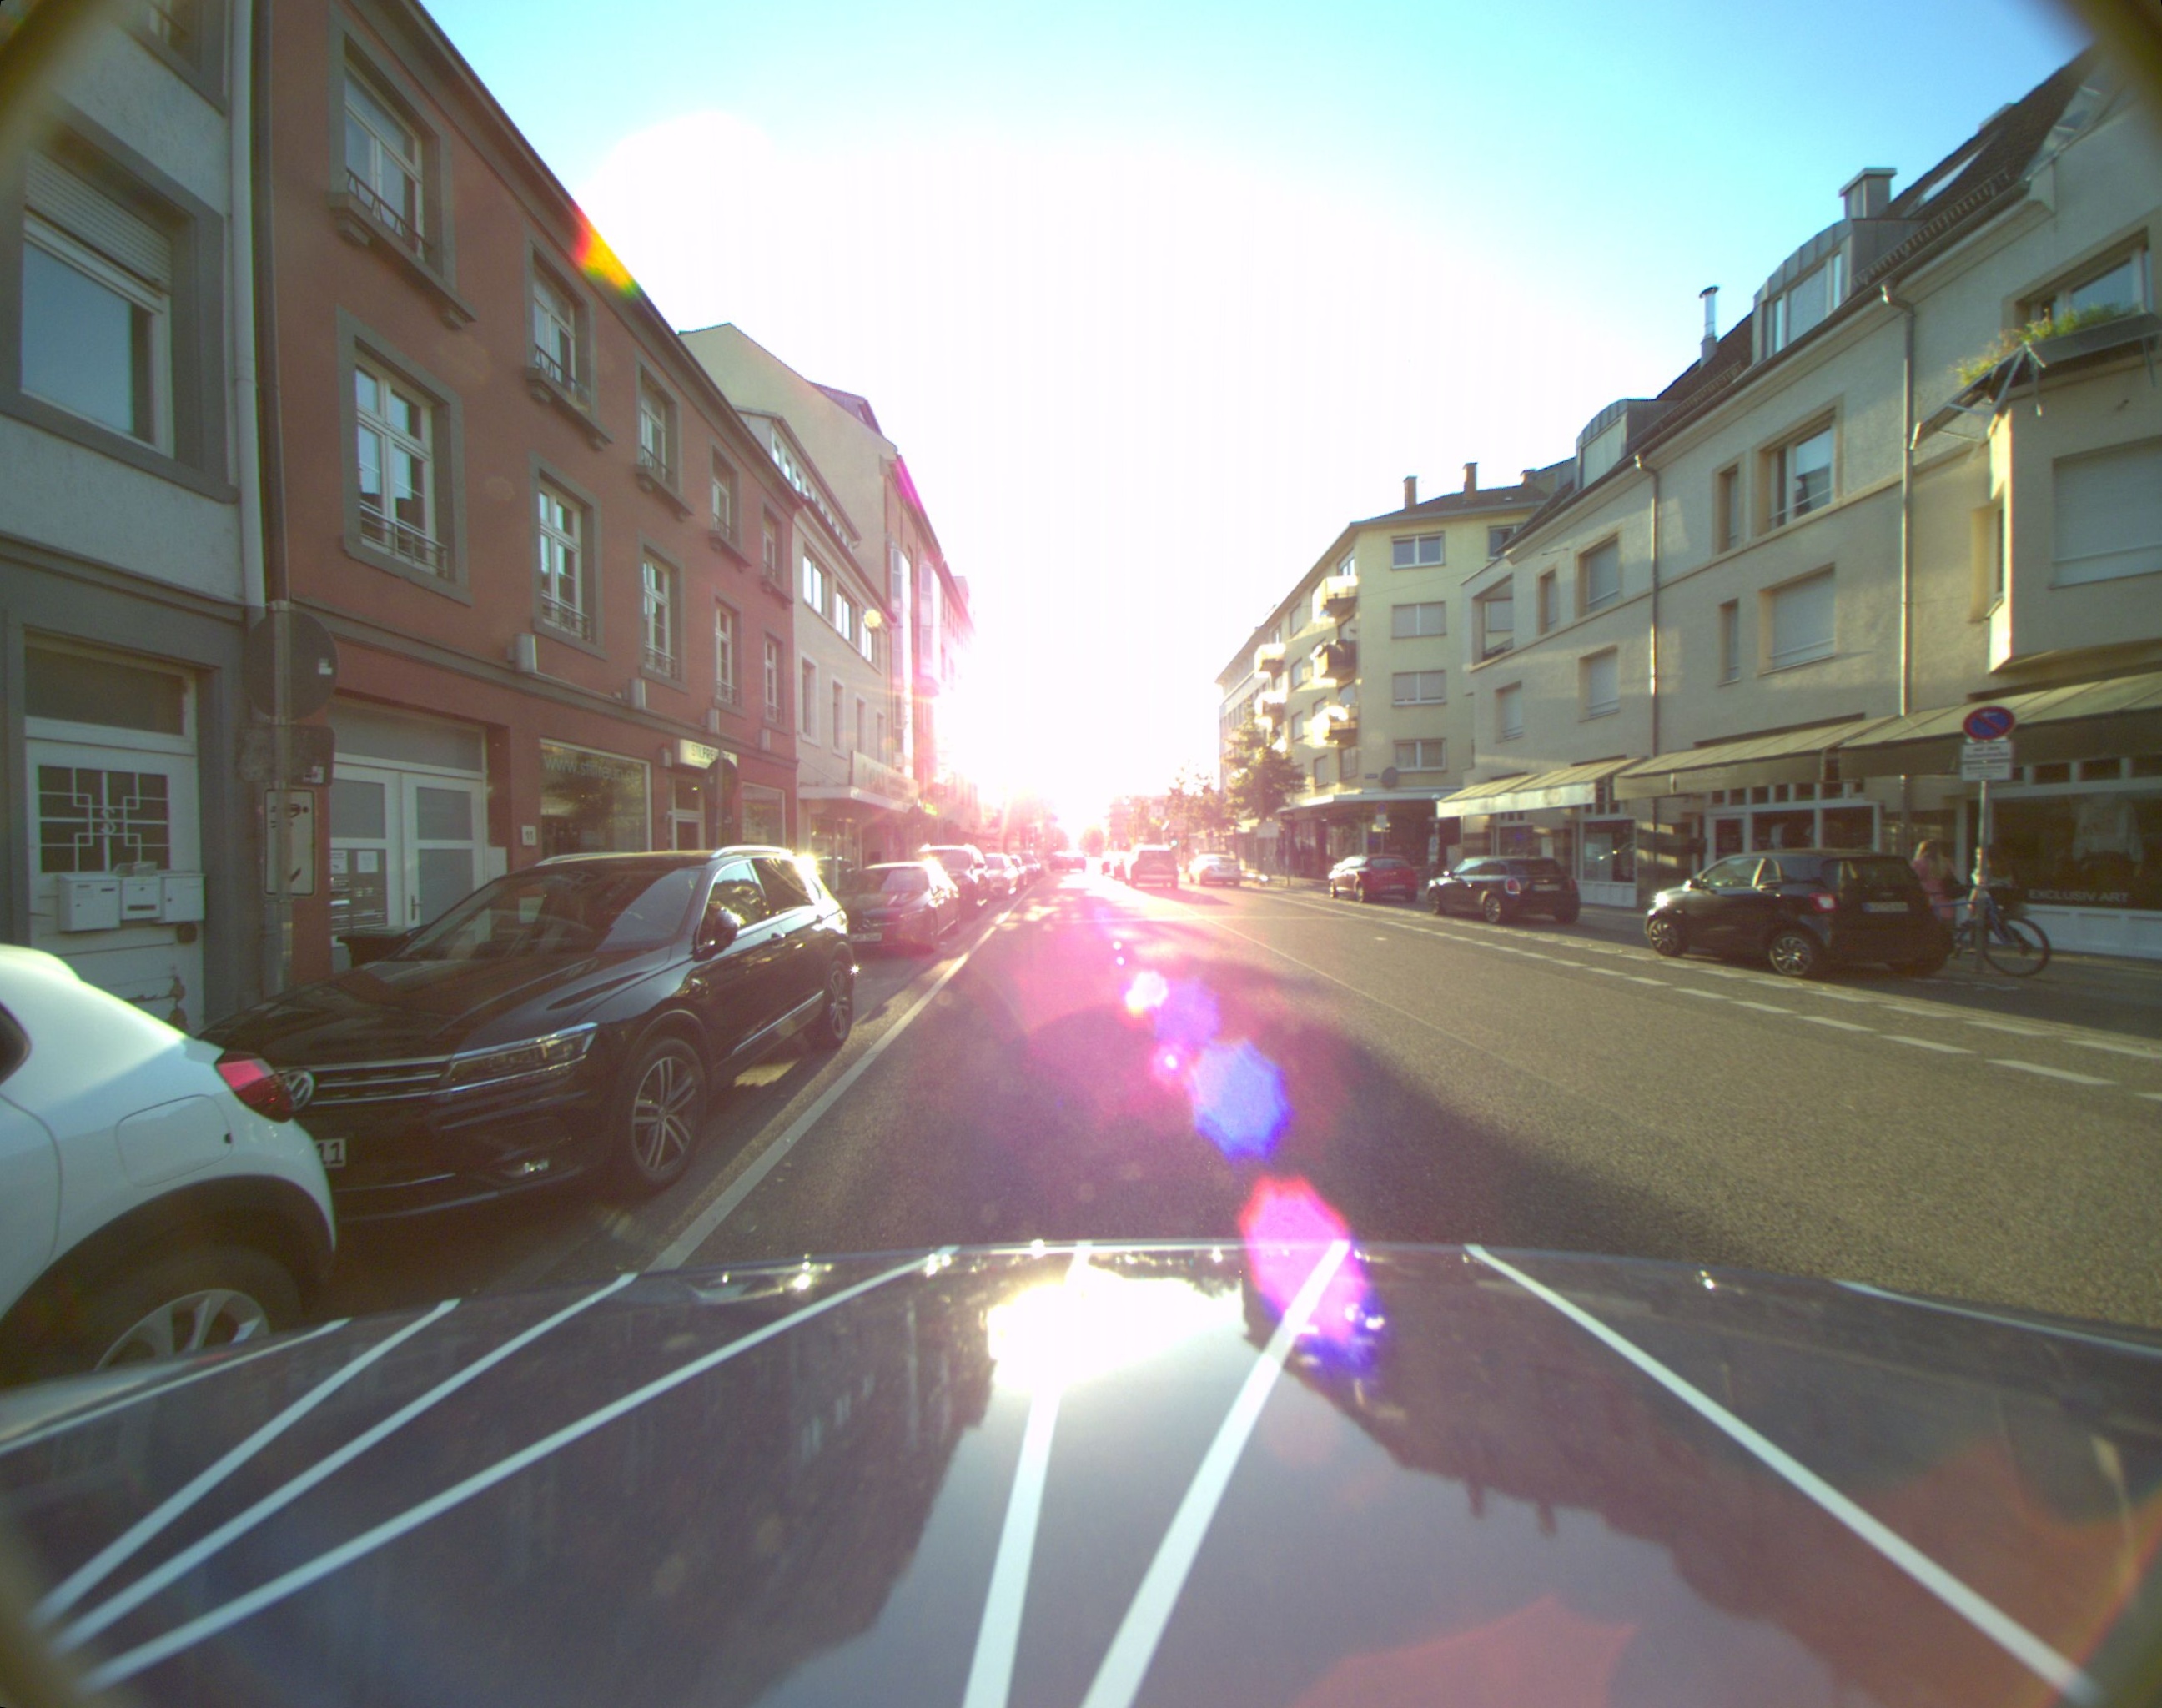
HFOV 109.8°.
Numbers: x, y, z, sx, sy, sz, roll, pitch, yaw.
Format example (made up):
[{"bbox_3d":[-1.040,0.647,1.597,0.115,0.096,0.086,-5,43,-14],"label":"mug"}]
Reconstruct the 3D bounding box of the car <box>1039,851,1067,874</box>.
[{"bbox_3d":[-1.883,0.572,51.978,1.694,1.494,3.787,0,1,1],"label":"car"}]

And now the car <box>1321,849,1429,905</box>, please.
[{"bbox_3d":[9.112,0.647,23.858,1.794,1.571,3.785,0,1,-3],"label":"car"}]

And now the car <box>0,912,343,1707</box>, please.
[{"bbox_3d":[-2.991,1.000,0.196,1.666,1.564,3.934,-2,1,0],"label":"car"}]

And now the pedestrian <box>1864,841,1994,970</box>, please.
[{"bbox_3d":[11.692,0.672,10.514,0.632,1.690,1.040,-1,1,-1],"label":"pedestrian"}]

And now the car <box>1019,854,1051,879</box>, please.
[{"bbox_3d":[-2.817,0.752,47.662,1.694,1.494,3.787,0,1,1],"label":"car"}]

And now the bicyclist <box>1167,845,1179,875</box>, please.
[{"bbox_3d":[4.774,0.300,39.433,0.548,1.571,0.803,-1,1,3],"label":"bicyclist"}]

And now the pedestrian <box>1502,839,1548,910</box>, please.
[{"bbox_3d":[11.048,0.497,18.925,0.720,1.724,0.738,-1,1,-1],"label":"pedestrian"}]

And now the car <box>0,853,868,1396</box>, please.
[{"bbox_3d":[-2.859,0.903,4.766,1.799,1.688,4.459,-3,1,-1],"label":"car"}]

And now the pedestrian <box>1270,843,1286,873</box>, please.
[{"bbox_3d":[11.766,0.244,45.385,0.720,1.781,0.666,-1,1,0],"label":"pedestrian"}]

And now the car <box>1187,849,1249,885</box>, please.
[{"bbox_3d":[6.353,0.567,35.767,1.999,1.595,4.403,1,1,-2],"label":"car"}]

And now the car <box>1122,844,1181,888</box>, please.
[{"bbox_3d":[2.792,0.436,30.983,1.843,1.639,4.299,1,1,-2],"label":"car"}]

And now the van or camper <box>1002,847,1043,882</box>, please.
[{"bbox_3d":[-3.183,0.530,42.130,1.792,1.763,4.557,0,1,1],"label":"van or camper"}]

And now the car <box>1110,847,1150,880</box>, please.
[{"bbox_3d":[2.639,0.469,41.818,1.843,1.639,4.299,1,1,-1],"label":"car"}]

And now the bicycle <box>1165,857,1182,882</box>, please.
[{"bbox_3d":[4.780,0.796,39.431,0.665,1.235,2.130,1,1,3],"label":"bicycle"}]

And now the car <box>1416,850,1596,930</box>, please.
[{"bbox_3d":[9.293,0.704,17.018,1.794,1.571,3.785,0,1,-3],"label":"car"}]

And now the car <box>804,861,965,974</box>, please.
[{"bbox_3d":[-3.216,0.949,13.343,1.689,1.479,4.409,-3,1,-1],"label":"car"}]

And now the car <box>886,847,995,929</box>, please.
[{"bbox_3d":[-3.455,0.740,19.715,1.999,1.767,5.317,-2,1,-2],"label":"car"}]

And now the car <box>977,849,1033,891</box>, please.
[{"bbox_3d":[-3.166,0.630,32.375,1.999,1.645,4.479,0,1,-1],"label":"car"}]

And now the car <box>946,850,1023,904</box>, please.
[{"bbox_3d":[-3.207,0.712,26.262,1.998,1.645,4.627,-2,1,0],"label":"car"}]

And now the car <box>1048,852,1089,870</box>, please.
[{"bbox_3d":[-1.136,0.611,65.337,1.507,1.426,4.016,1,1,-35],"label":"car"}]

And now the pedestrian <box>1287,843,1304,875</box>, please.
[{"bbox_3d":[12.216,0.295,43.287,0.720,1.781,0.666,-1,1,0],"label":"pedestrian"}]

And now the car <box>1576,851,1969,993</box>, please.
[{"bbox_3d":[9.216,0.768,10.675,1.794,1.571,3.965,0,1,-3],"label":"car"}]

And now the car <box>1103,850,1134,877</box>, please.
[{"bbox_3d":[2.517,0.618,51.681,1.843,1.639,4.300,1,1,0],"label":"car"}]

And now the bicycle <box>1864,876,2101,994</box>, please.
[{"bbox_3d":[10.776,0.911,9.217,0.559,1.199,1.977,0,1,2],"label":"bicycle"}]

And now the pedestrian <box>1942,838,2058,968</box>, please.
[{"bbox_3d":[12.467,0.632,10.333,0.561,1.690,0.831,-1,1,-1],"label":"pedestrian"}]
